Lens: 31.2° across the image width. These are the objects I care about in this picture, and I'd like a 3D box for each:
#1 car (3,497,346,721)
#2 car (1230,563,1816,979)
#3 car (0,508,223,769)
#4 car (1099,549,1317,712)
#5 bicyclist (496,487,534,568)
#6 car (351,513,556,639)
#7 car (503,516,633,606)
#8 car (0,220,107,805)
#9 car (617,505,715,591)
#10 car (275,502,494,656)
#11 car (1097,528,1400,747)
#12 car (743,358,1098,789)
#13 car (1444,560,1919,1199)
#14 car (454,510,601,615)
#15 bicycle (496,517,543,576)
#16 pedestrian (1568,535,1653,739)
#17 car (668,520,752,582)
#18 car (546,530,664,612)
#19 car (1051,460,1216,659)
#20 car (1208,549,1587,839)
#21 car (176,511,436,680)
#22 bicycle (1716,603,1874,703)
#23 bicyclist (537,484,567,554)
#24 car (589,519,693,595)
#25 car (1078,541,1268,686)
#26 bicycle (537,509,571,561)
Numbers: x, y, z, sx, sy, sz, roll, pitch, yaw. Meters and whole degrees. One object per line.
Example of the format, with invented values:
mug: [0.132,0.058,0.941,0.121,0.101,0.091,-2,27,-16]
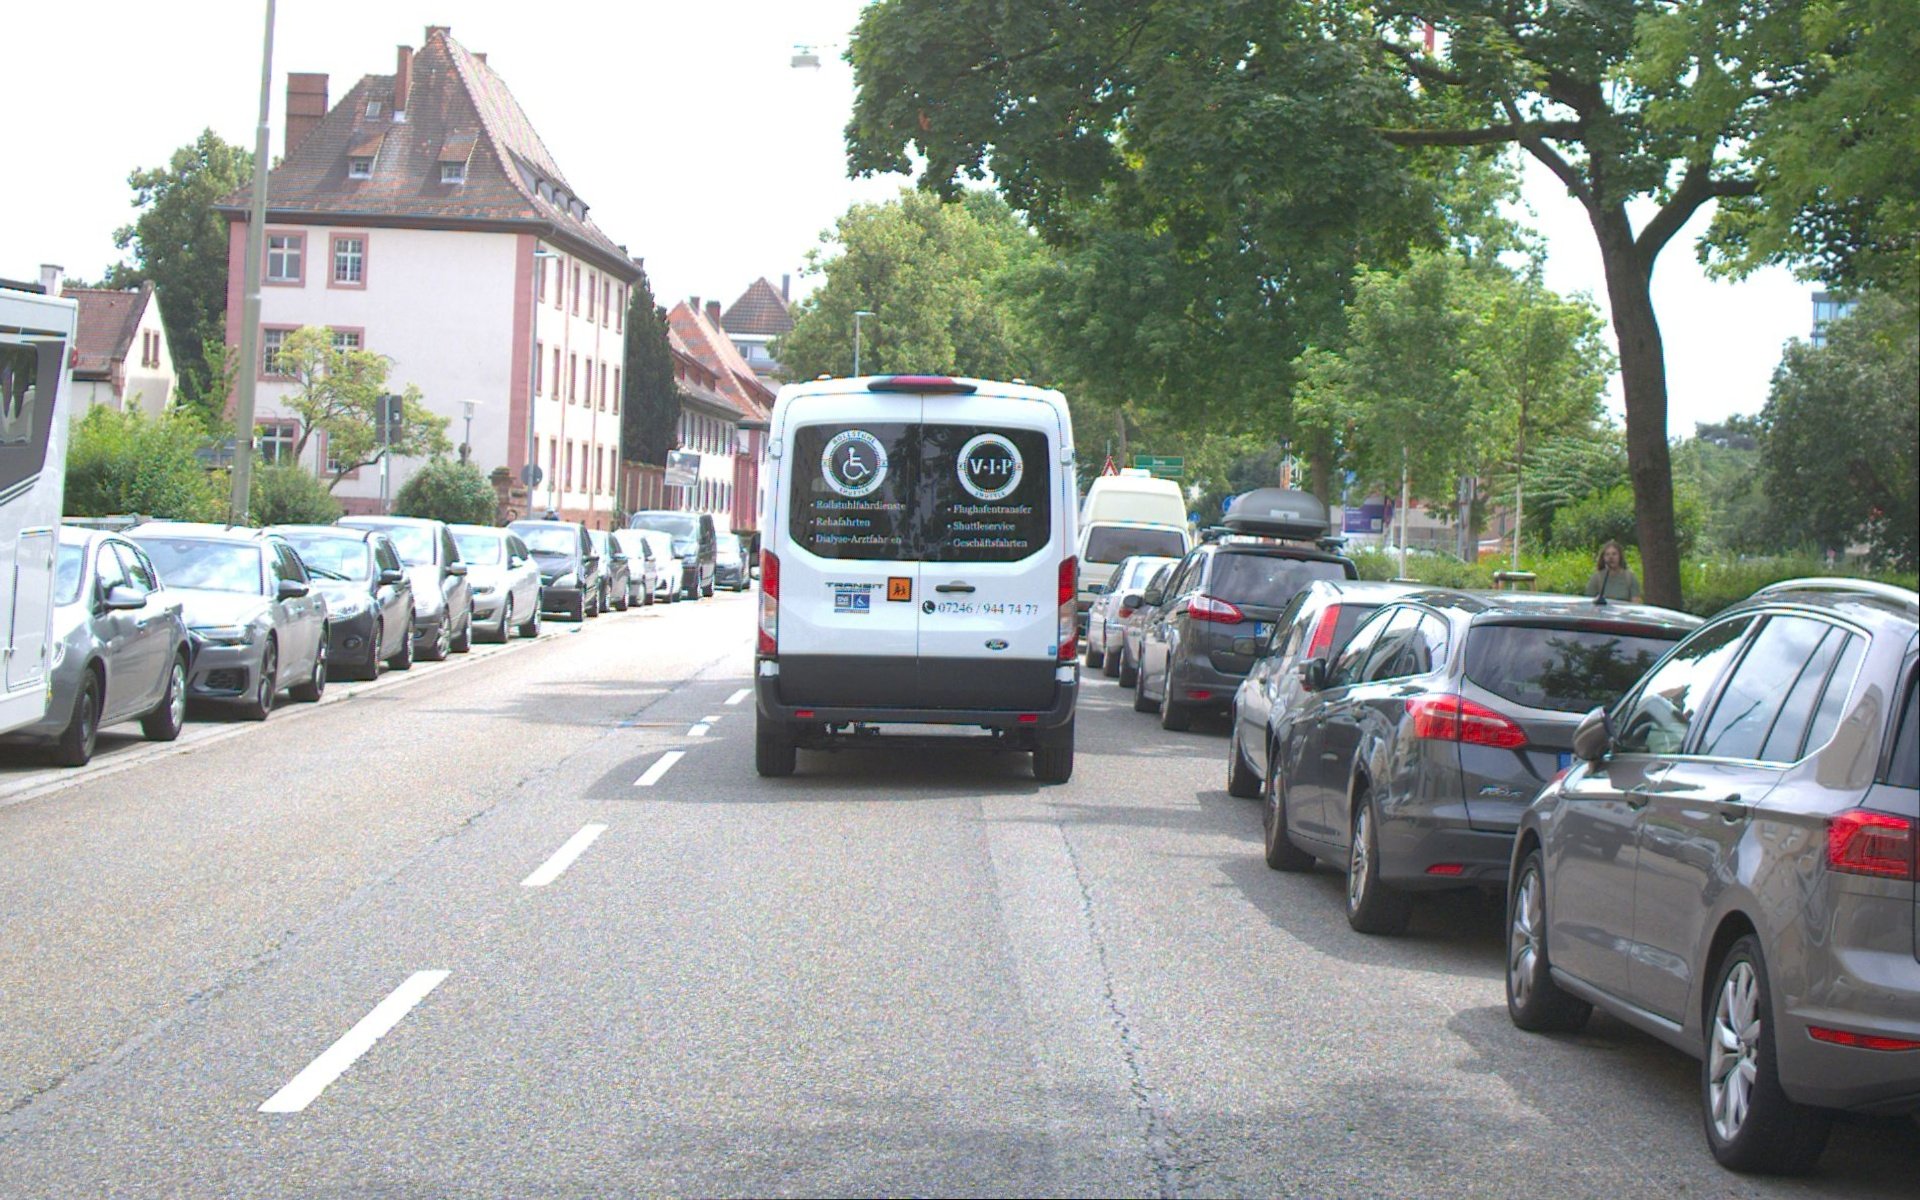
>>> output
car: [-6.359,0.005,28.409,1.885,1.574,5.220,3,1,-4]
car: [2.357,0.643,15.520,1.617,1.464,4.392,4,1,-3]
car: [-6.246,0.171,22.932,1.688,1.491,4.594,3,1,-1]
car: [2.548,0.276,36.172,1.712,1.459,4.001,5,1,-3]
bicyclist: [-9.129,-1.483,70.555,0.537,1.647,1.047,2,1,4]
car: [-6.687,-0.353,45.853,1.886,1.483,4.634,4,1,1]
car: [-7.008,-0.723,61.789,1.786,1.457,3.861,3,1,0]
car: [-6.153,-0.461,16.007,2.510,3.013,7.397,3,1,-1]
car: [-6.725,-1.206,78.890,1.786,1.820,3.974,3,1,0]
car: [-6.617,-0.276,39.904,1.885,1.574,4.154,3,1,-2]
car: [2.492,0.259,31.075,1.927,1.655,5.326,5,1,-3]
car: [-0.334,-0.191,22.869,2.070,2.531,4.635,1,1,-2]
car: [2.741,0.756,10.315,1.659,1.577,4.286,5,1,-3]
car: [-6.972,-0.621,55.776,1.786,1.538,3.861,3,1,0]
bicycle: [-9.104,-1.111,71.080,0.541,1.171,2.091,2,1,4]
pedestrian: [5.871,0.331,31.057,0.522,1.822,0.524,1,1,-16]
car: [-6.483,-1.286,89.366,1.786,1.477,3.861,3,1,0]
car: [-6.892,-0.584,67.043,1.786,1.457,3.861,3,1,0]
car: [2.439,-0.603,49.439,1.897,2.578,4.829,5,1,0]
car: [2.519,0.481,20.675,1.659,1.451,4.036,4,1,0]
car: [-6.534,-0.097,34.830,1.741,1.491,4.786,3,1,-1]
bicycle: [8.202,0.517,33.792,1.383,0.913,0.514,2,2,-13]
bicyclist: [-9.377,-1.862,79.038,0.536,1.580,0.691,2,1,3]
car: [-6.823,-0.945,73.836,1.786,1.477,3.861,3,1,0]
car: [2.474,0.112,40.854,1.680,1.464,4.556,5,1,-2]
bicycle: [-9.371,-1.500,79.372,0.541,1.171,1.349,2,1,3]
